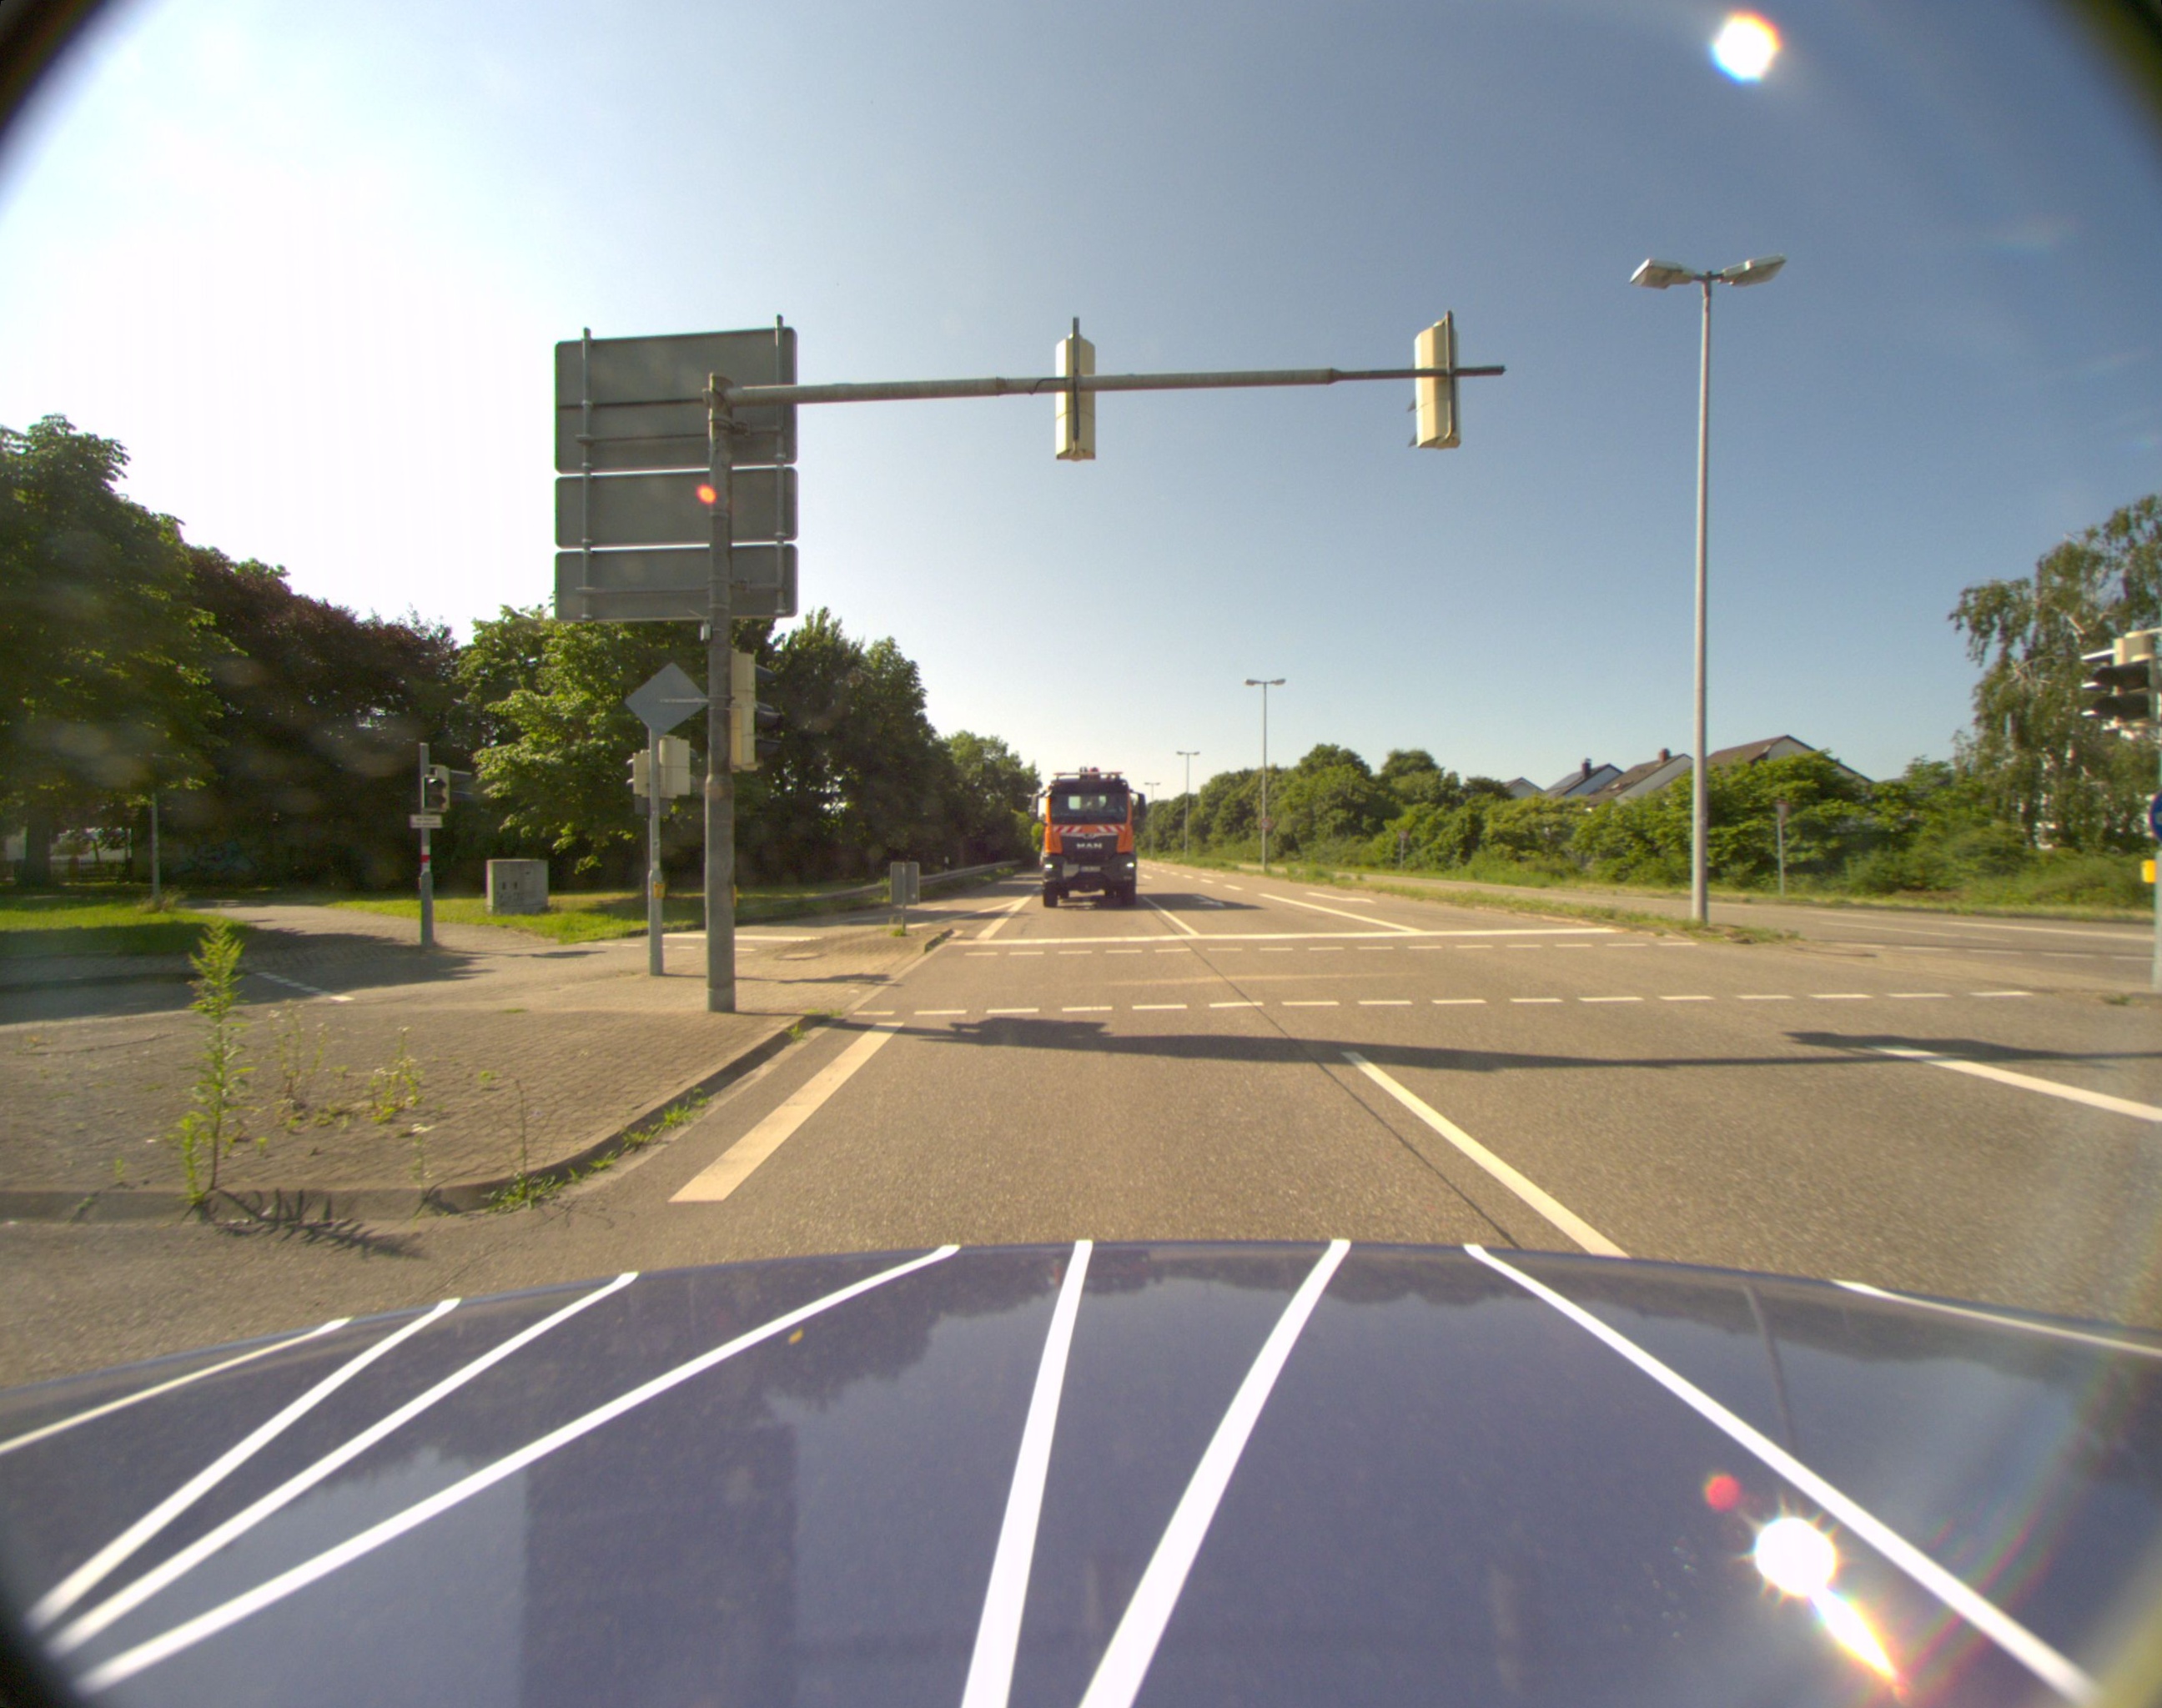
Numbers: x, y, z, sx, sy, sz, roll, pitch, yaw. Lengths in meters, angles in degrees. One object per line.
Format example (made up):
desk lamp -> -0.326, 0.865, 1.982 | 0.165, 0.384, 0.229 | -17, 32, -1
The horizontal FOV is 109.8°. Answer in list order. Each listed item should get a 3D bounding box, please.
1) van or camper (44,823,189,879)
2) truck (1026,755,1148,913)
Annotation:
van or camper -> -50.224, -0.166, 39.646 | 4.812, 2.815, 1.999 | 0, 1, -2
truck -> 0.207, -0.547, 22.257 | 2.940, 3.853, 6.590 | -2, 1, 1
